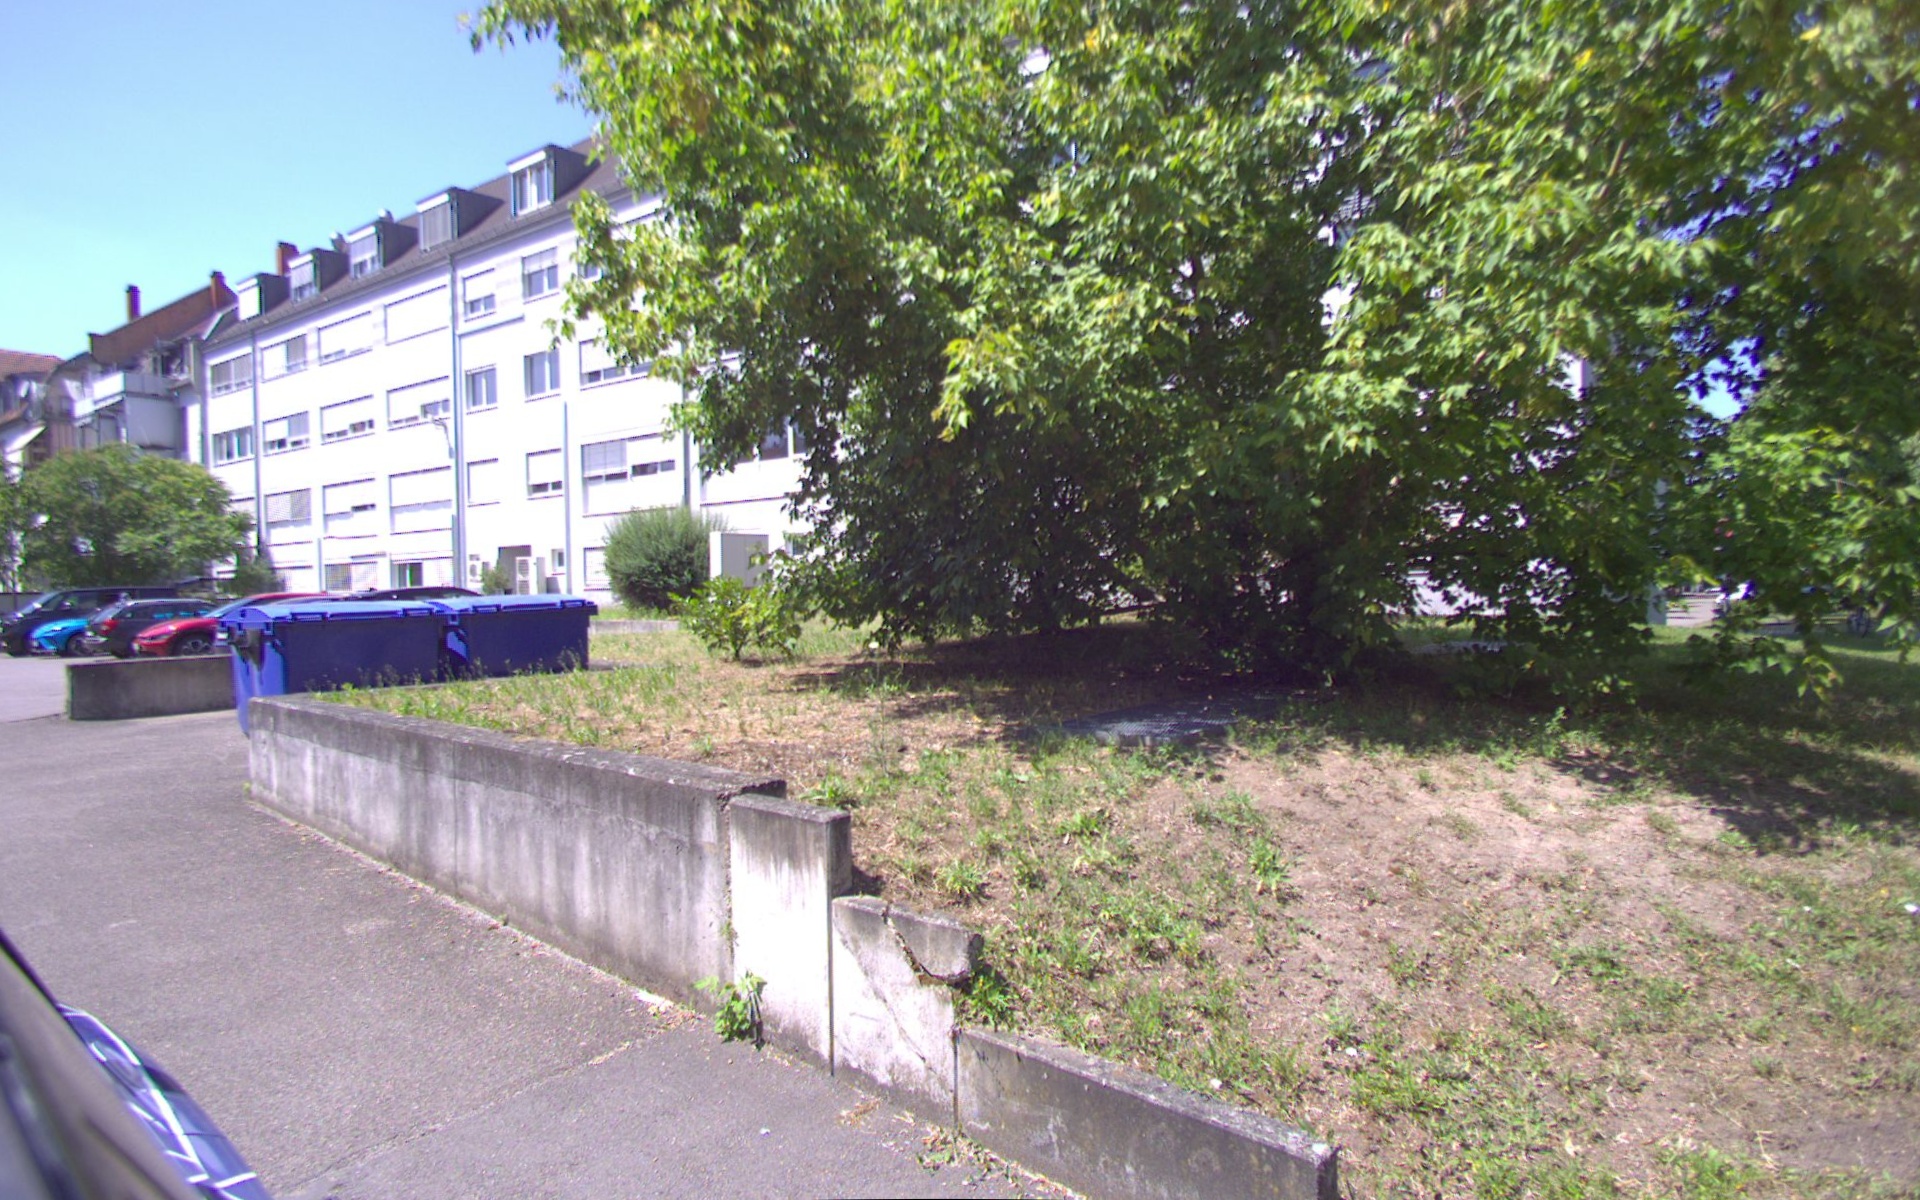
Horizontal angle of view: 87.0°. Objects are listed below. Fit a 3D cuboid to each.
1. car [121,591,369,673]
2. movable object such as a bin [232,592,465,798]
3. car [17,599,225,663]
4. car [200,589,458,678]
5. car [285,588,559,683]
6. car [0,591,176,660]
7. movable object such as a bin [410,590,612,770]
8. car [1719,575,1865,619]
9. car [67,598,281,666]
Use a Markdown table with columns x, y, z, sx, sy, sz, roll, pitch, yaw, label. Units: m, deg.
| x | y | z | sx | sy | sz | roll | pitch | yaw | label |
| --- | --- | --- | --- | --- | --- | --- | --- | --- | --- |
| -15.618 | 0.628 | 22.318 | 1.610 | 1.580 | 4.175 | 0 | 1 | 35 | car |
| -4.701 | 0.649 | 7.804 | 1.095 | 1.399 | 1.255 | 0 | 1 | 41 | movable object such as a bin |
| -23.279 | 0.796 | 28.232 | 1.610 | 1.580 | 4.175 | 0 | 1 | 35 | car |
| -12.706 | 0.589 | 20.644 | 1.610 | 1.580 | 4.175 | 0 | 1 | 35 | car |
| -10.163 | 0.580 | 19.461 | 1.610 | 1.580 | 4.394 | 0 | 1 | 35 | car |
| -25.891 | 0.673 | 29.691 | 2.005 | 1.837 | 4.175 | 0 | 1 | 35 | car |
| -3.888 | 0.625 | 8.797 | 1.095 | 1.399 | 1.255 | 0 | 1 | 41 | movable object such as a bin |
| 32.511 | -0.136 | 39.705 | 4.336 | 1.622 | 1.909 | 0 | 1 | 39 | car |
| -20.582 | 0.771 | 26.686 | 1.610 | 1.580 | 4.175 | 0 | 1 | 35 | car |
